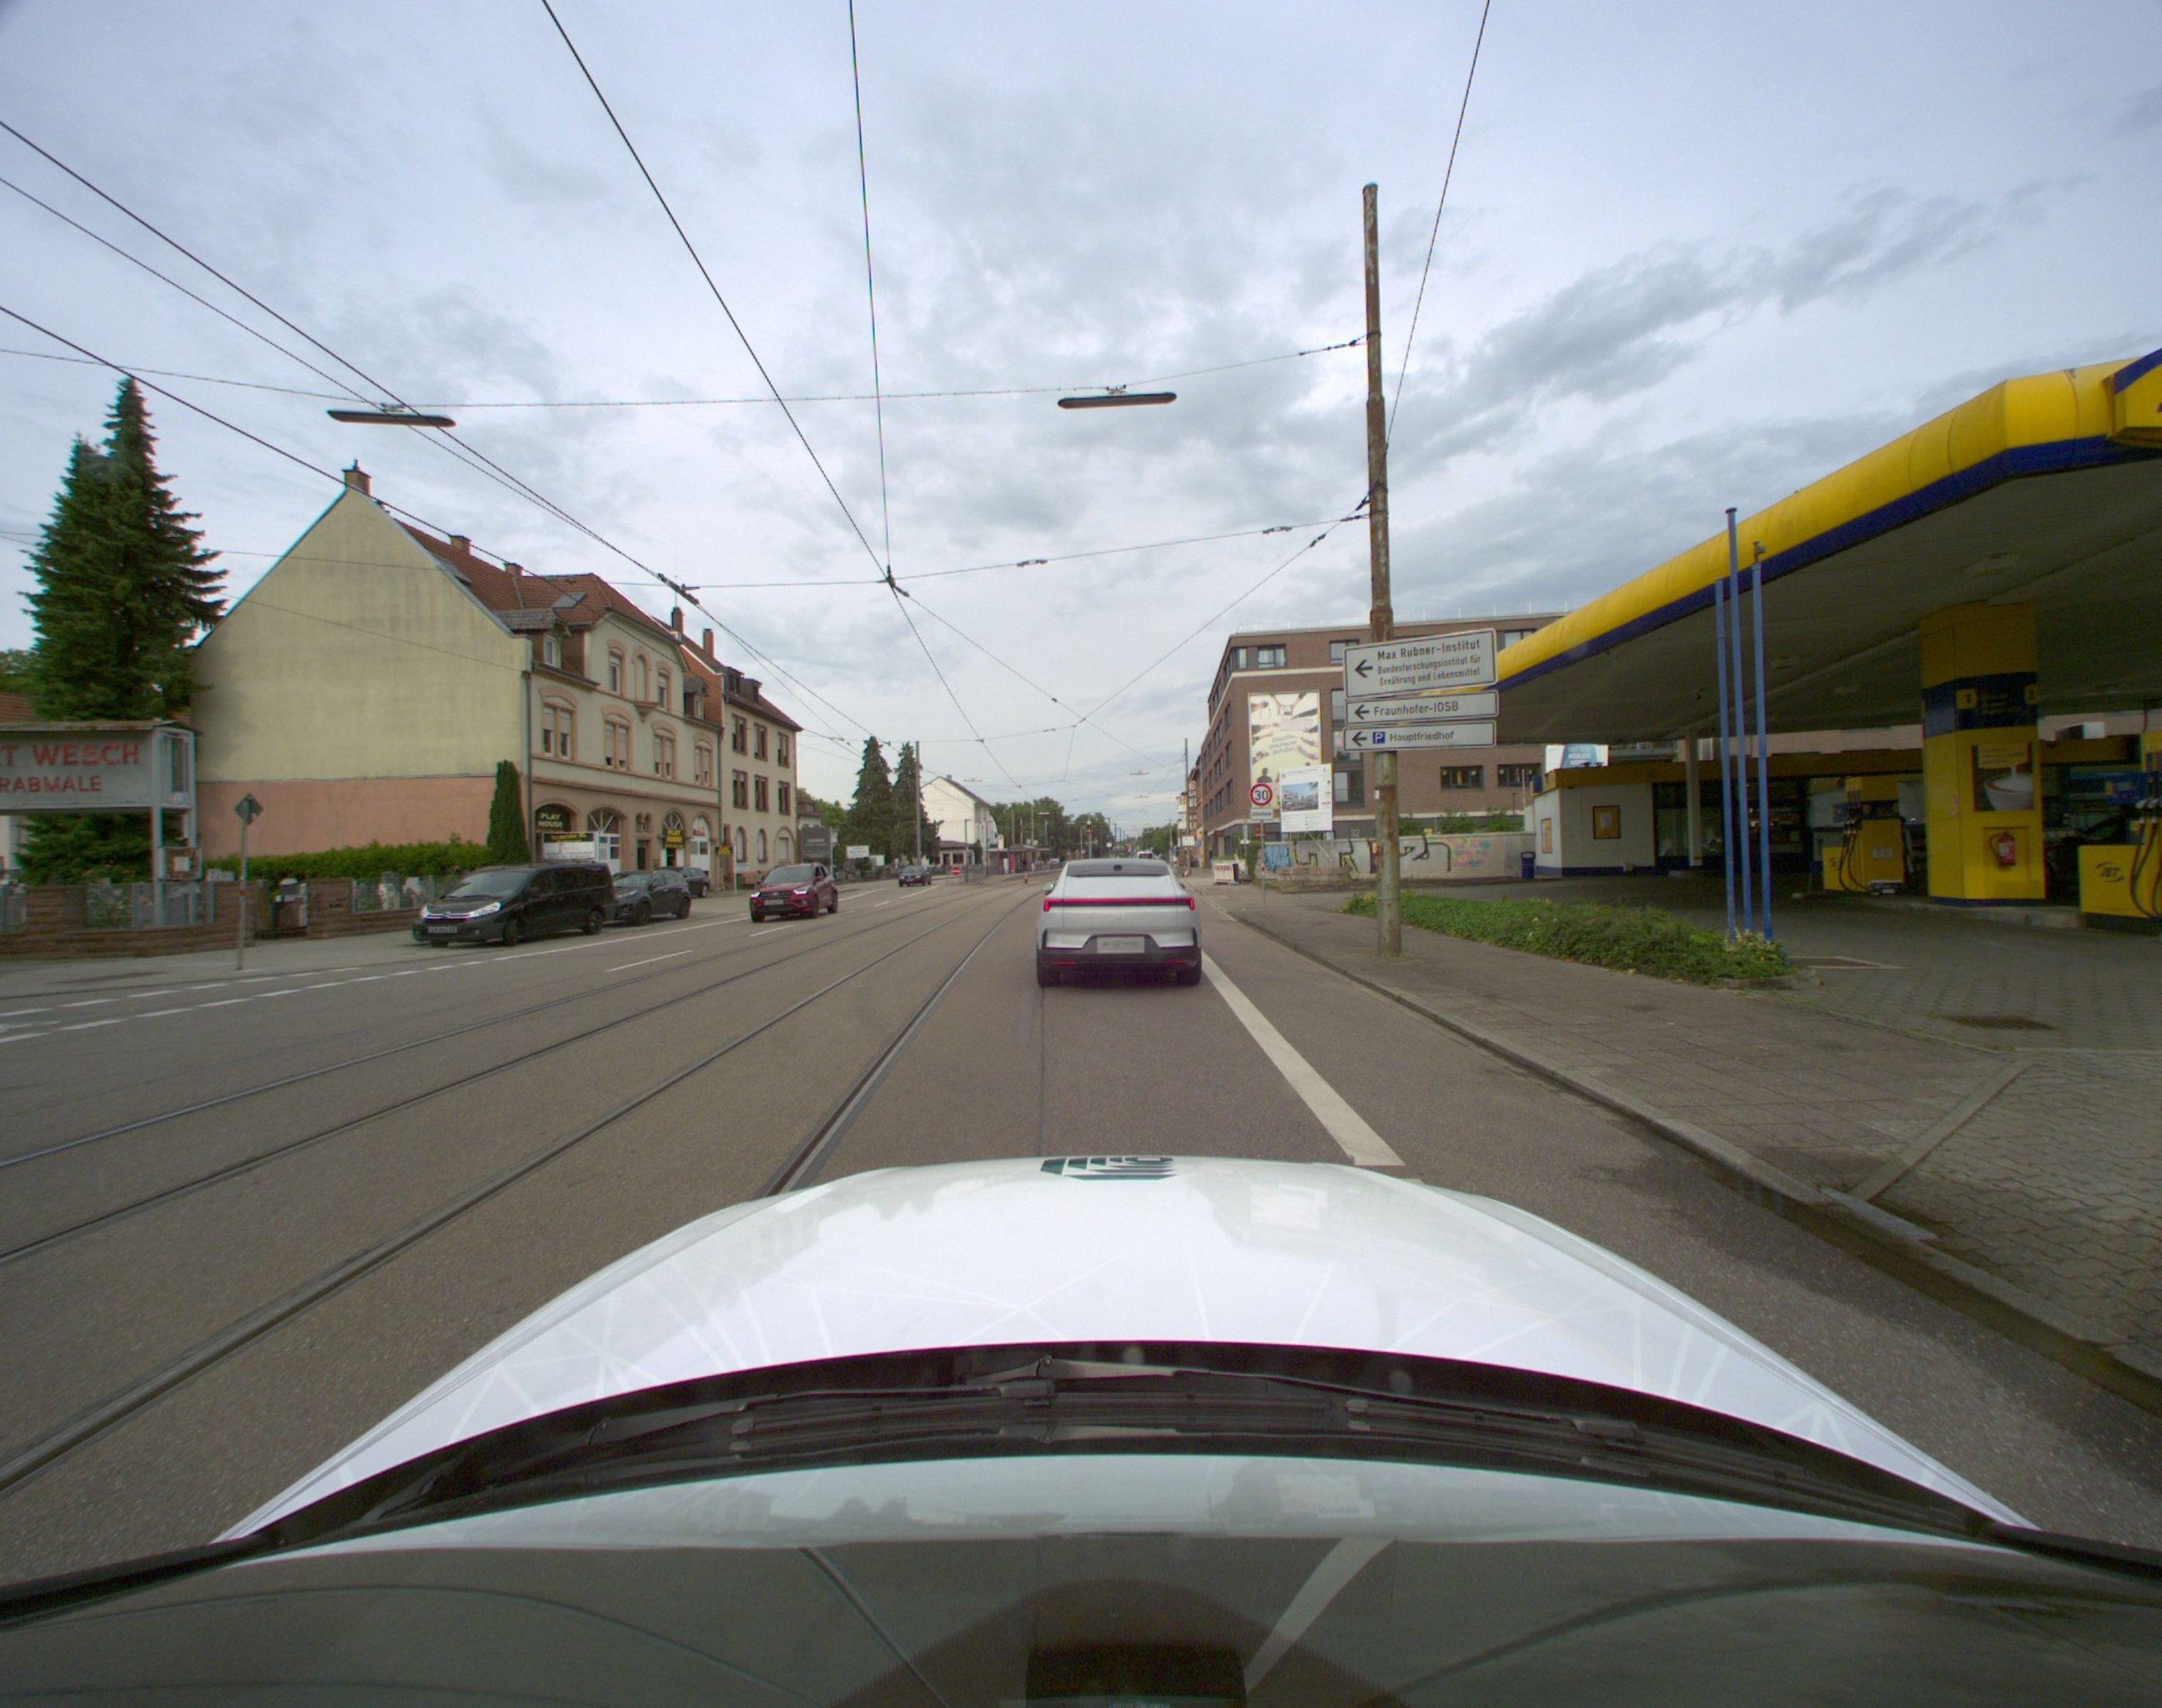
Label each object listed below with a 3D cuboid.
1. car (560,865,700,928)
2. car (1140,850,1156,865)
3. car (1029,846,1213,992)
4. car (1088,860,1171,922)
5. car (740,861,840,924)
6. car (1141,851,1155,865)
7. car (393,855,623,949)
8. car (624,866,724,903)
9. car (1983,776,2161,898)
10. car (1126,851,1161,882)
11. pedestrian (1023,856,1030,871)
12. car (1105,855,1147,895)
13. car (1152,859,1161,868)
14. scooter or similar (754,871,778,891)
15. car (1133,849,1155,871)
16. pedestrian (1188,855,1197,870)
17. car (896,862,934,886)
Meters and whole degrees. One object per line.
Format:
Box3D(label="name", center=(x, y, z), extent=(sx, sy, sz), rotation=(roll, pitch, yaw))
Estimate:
Box3D(label="car", center=(-14.158, 1.273, 25.949), extent=(2.032, 1.749, 4.531), rotation=(0, 0, -2))
Box3D(label="car", center=(9.301, 0.554, 113.867), extent=(1.986, 2.014, 4.001), rotation=(-1, -1, 2))
Box3D(label="car", center=(0.464, 0.740, 10.907), extent=(1.992, 1.581, 4.000), rotation=(-1, -1, 1))
Box3D(label="car", center=(1.322, 0.920, 21.879), extent=(1.985, 1.420, 4.004), rotation=(-2, 0, 4))
Box3D(label="car", center=(-8.817, 1.101, 25.092), extent=(1.839, 1.724, 4.399), rotation=(-2, -1, -6))
Box3D(label="car", center=(10.192, 0.592, 123.786), extent=(1.986, 2.014, 4.001), rotation=(-1, -1, 2))
Box3D(label="car", center=(-13.715, 1.066, 20.032), extent=(1.981, 2.014, 5.182), rotation=(0, -1, -1))
Box3D(label="car", center=(-18.079, 1.292, 36.486), extent=(1.987, 1.493, 4.902), rotation=(-1, -1, 0))
Box3D(label="car", center=(19.061, -0.304, 14.708), extent=(1.803, 1.988, 4.274), rotation=(-3, -1, 19))
Box3D(label="car", center=(3.883, 0.784, 51.312), extent=(1.986, 1.816, 4.001), rotation=(-2, 0, 2))
Box3D(label="pedestrian", center=(-5.896, 1.013, 87.687), extent=(0.612, 1.664, 0.699), rotation=(-1, -1, 8))
Box3D(label="car", center=(2.054, 0.901, 36.295), extent=(1.673, 1.687, 3.829), rotation=(-1, -1, 5))
Box3D(label="car", center=(17.651, 2.155, 190.159), extent=(1.986, 2.014, 4.001), rotation=(-1, -1, 2))
Box3D(label="scooter or similar", center=(-17.801, 1.521, 46.036), extent=(1.181, 1.102, 0.523), rotation=(0, -1, -29))
Box3D(label="car", center=(7.064, 0.704, 92.076), extent=(2.217, 2.402, 5.124), rotation=(-1, -1, 2))
Box3D(label="pedestrian", center=(13.630, 1.037, 99.279), extent=(0.954, 1.850, 0.978), rotation=(-4, 0, 11))
Box3D(label="car", center=(-11.316, 1.349, 55.758), extent=(1.786, 1.530, 4.136), rotation=(-3, -1, -3))
